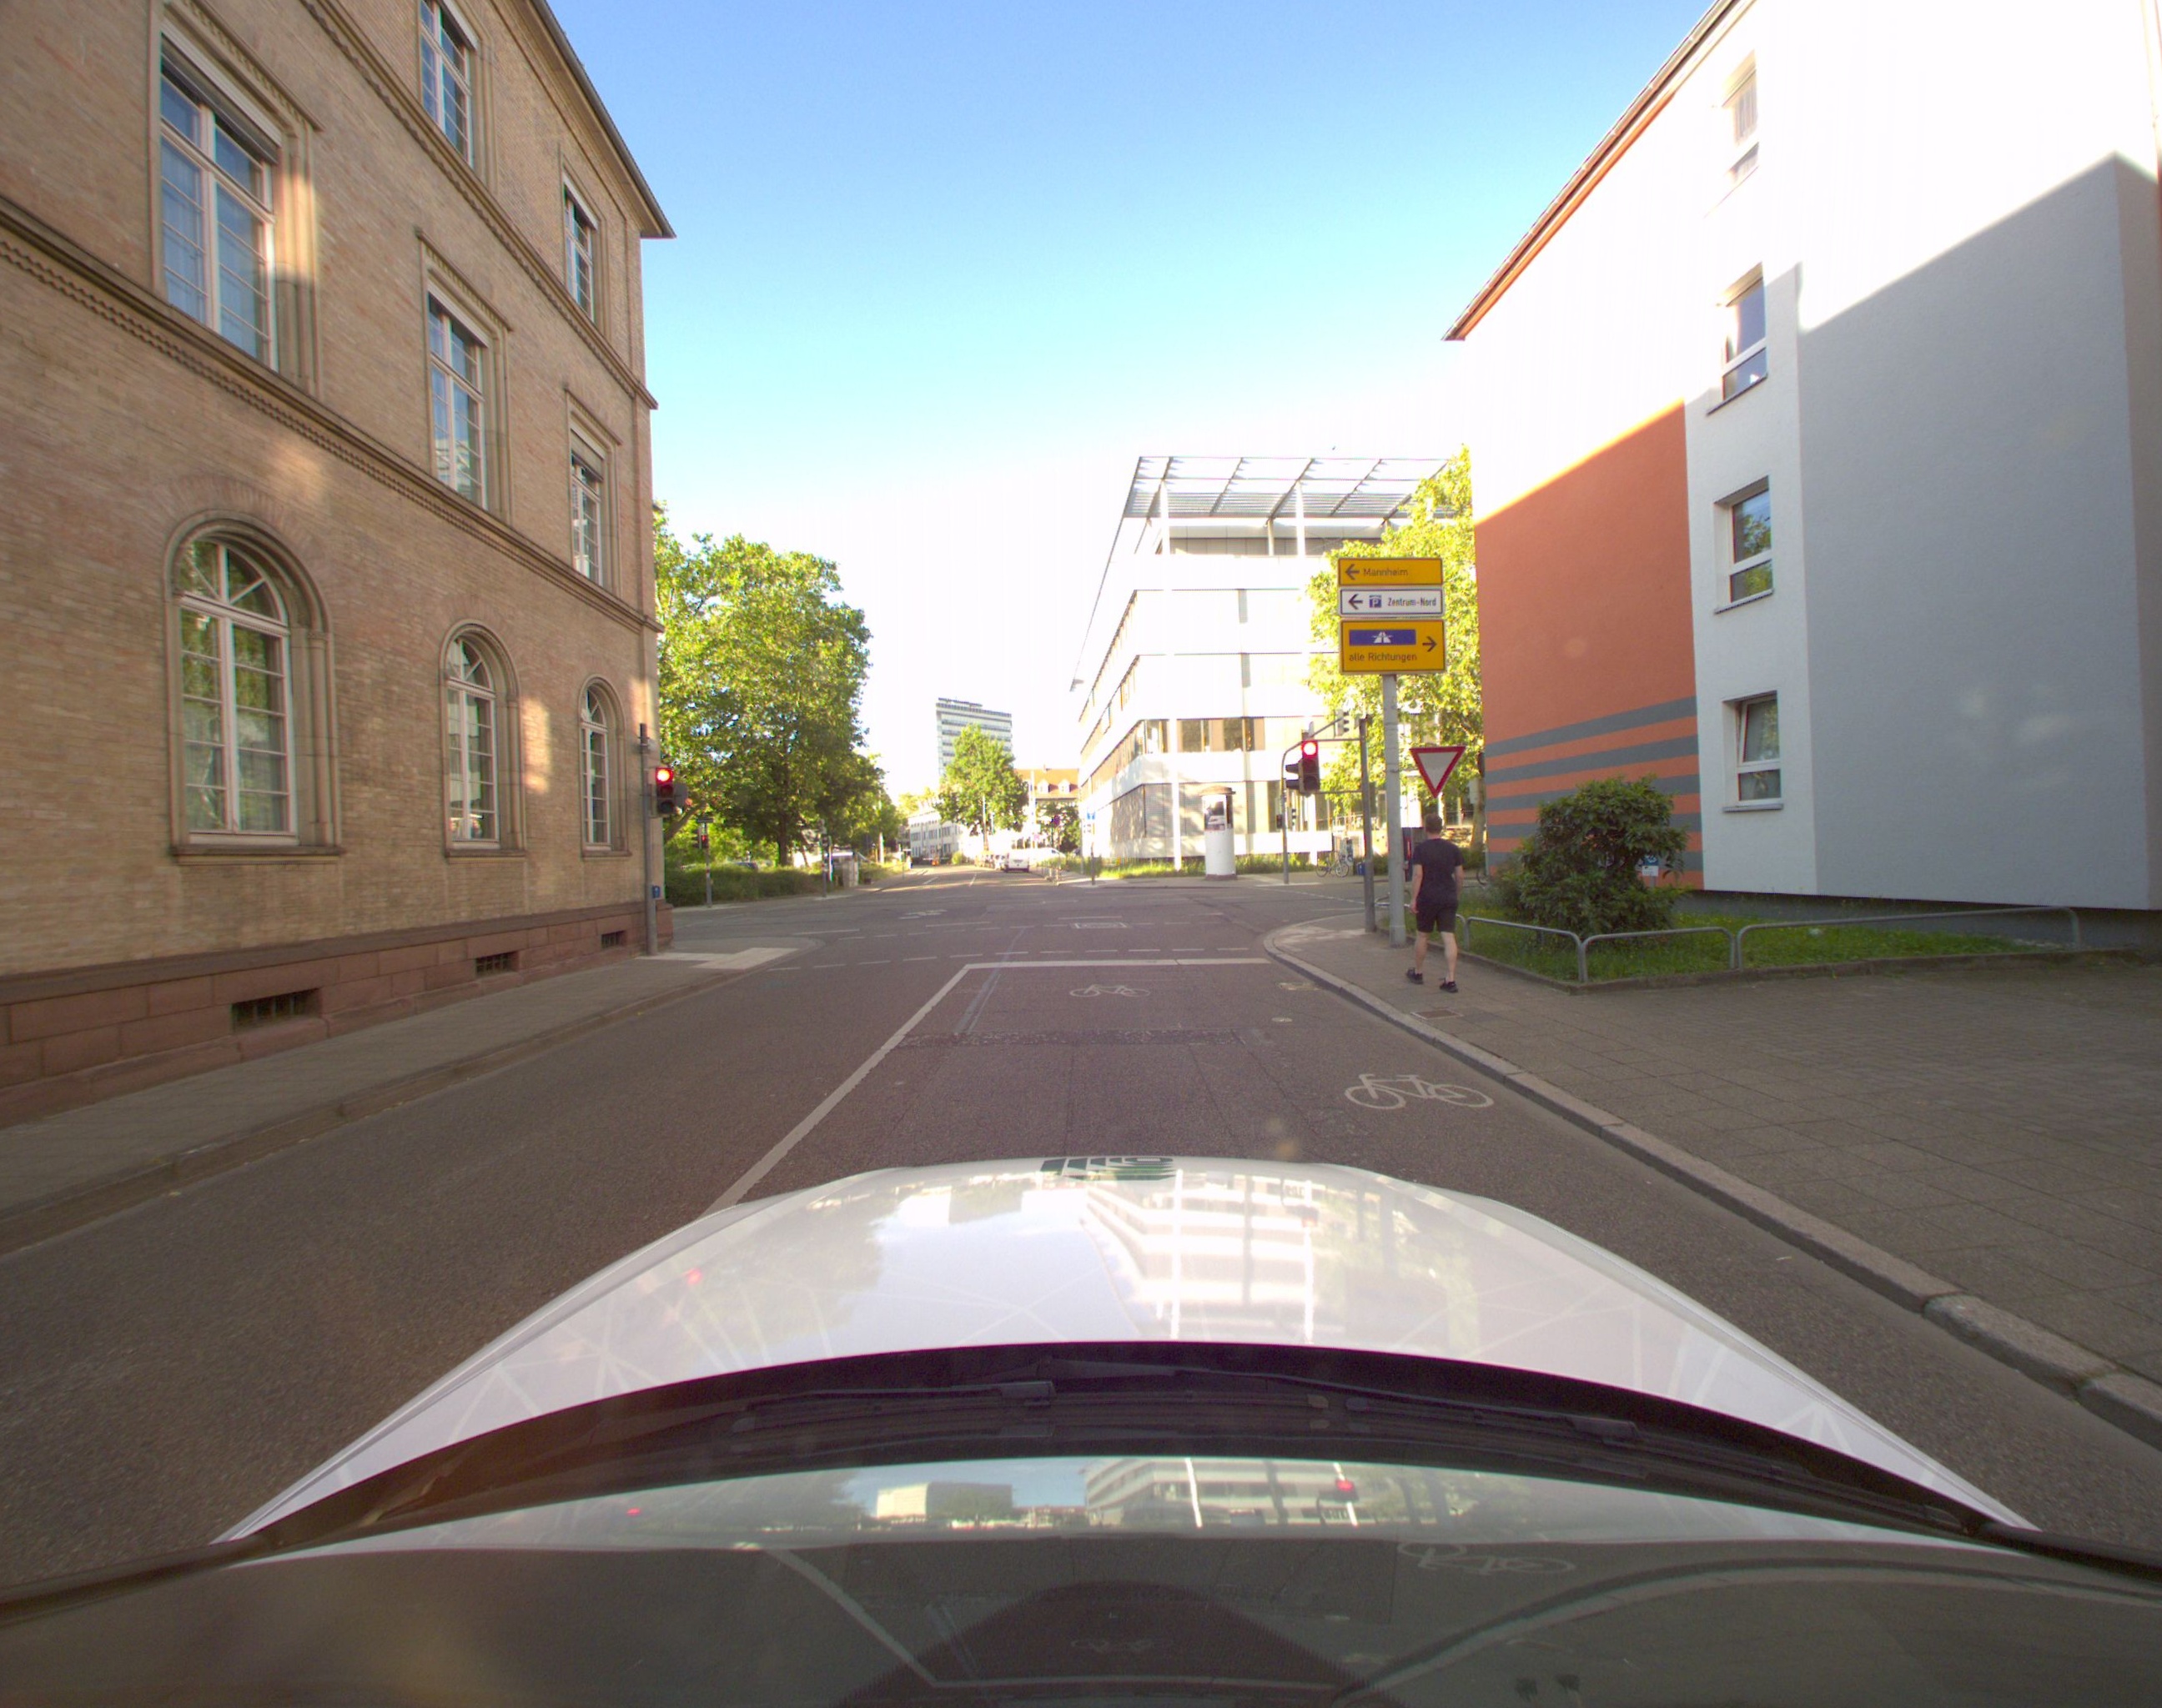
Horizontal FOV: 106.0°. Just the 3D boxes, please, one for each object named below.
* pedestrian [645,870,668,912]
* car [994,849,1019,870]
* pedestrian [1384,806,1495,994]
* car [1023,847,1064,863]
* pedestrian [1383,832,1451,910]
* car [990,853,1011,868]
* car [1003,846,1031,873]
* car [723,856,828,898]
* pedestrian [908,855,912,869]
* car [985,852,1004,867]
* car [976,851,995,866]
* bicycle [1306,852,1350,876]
[{"bbox_3d":[-16.514,1.434,31.649,0.716,1.599,0.611,-2,0,-30],"label":"pedestrian"},{"bbox_3d":[-7.081,0.500,76.825,1.947,1.795,4.223,-2,0,-11],"label":"car"},{"bbox_3d":[3.684,0.447,8.434,0.641,1.788,0.917,-5,0,4],"label":"pedestrian"},{"bbox_3d":[-4.789,0.113,103.078,4.889,1.872,1.990,-1,-1,-15],"label":"car"},{"bbox_3d":[7.137,0.365,17.306,0.754,1.573,0.946,-5,0,-36],"label":"pedestrian"},{"bbox_3d":[-8.091,0.636,81.665,1.705,1.424,4.221,-2,0,-11],"label":"car"},{"bbox_3d":[-5.127,0.408,64.920,2.065,1.963,4.228,-2,0,-6],"label":"car"},{"bbox_3d":[-14.401,1.071,38.624,4.219,1.777,1.901,-2,0,-7],"label":"car"},{"bbox_3d":[-19.601,0.932,93.102,0.380,1.534,0.444,-2,0,-10],"label":"pedestrian"},{"bbox_3d":[-9.193,0.575,86.229,1.704,1.464,4.225,-2,0,-9],"label":"car"},{"bbox_3d":[-11.302,0.518,96.110,2.100,1.658,4.461,-2,0,-9],"label":"car"},{"bbox_3d":[10.902,0.450,35.979,0.467,1.049,1.893,-2,0,-40],"label":"bicycle"}]
